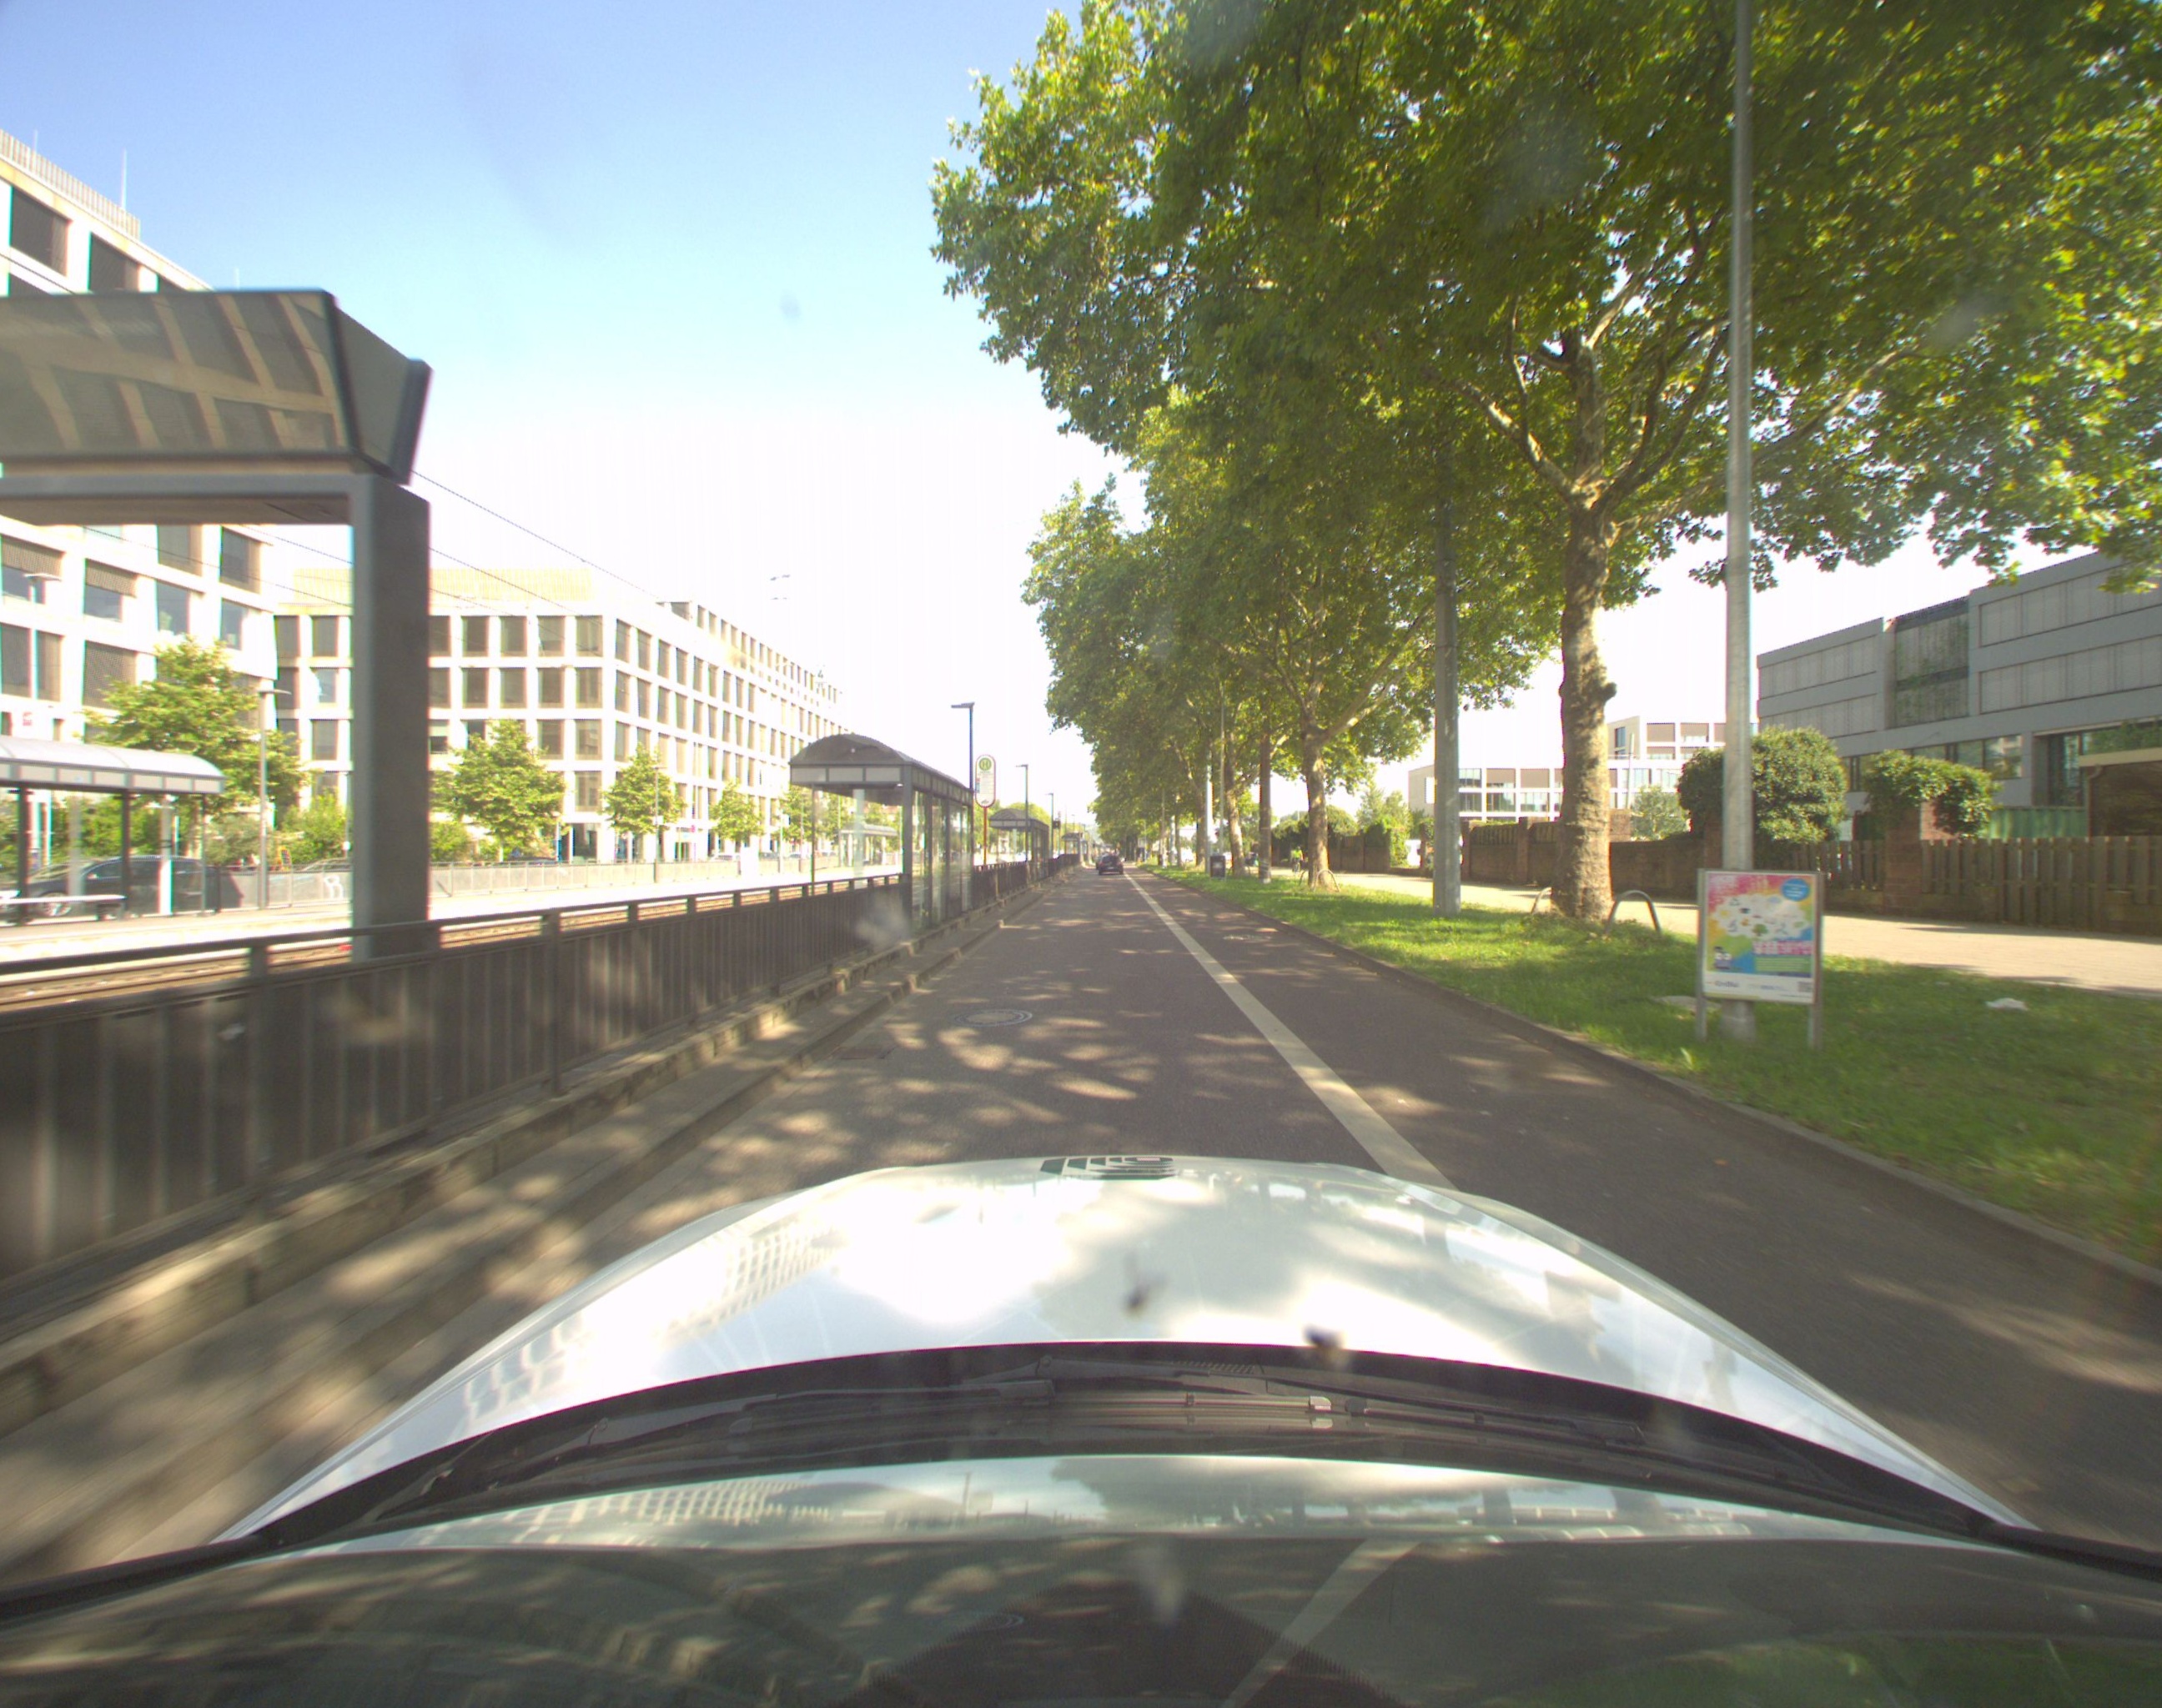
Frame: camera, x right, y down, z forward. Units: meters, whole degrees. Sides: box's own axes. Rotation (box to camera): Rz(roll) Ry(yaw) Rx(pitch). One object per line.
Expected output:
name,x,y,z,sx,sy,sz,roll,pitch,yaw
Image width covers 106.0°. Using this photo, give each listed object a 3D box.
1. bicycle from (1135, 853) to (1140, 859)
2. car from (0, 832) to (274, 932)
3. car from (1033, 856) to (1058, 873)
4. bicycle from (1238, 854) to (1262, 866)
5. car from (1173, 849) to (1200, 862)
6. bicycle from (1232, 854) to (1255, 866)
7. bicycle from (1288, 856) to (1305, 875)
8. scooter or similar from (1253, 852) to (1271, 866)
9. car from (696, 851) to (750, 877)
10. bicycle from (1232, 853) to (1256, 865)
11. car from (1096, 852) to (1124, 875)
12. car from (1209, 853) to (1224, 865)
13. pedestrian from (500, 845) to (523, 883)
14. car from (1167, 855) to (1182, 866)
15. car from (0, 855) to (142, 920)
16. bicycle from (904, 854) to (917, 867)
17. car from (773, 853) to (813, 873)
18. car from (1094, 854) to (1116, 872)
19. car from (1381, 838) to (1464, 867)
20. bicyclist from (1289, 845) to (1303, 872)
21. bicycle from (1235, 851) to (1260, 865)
bicycle,10.043,0.410,144.494,0.608,1.022,2.401,-1,0,-2
car,-19.434,0.569,16.536,1.987,1.724,4.000,-3,-1,1
car,-3.431,0.978,78.773,1.986,1.559,4.003,-2,0,2
bicycle,15.830,0.579,76.340,2.166,1.076,0.743,-1,0,0
car,16.614,0.296,128.844,4.084,1.918,1.850,-2,0,4
bicycle,15.832,0.559,79.369,2.163,1.076,0.744,-3,-1,5
bicycle,11.821,0.634,44.782,0.546,1.007,1.714,-1,0,2
scooter or similar,15.992,0.448,71.959,1.498,1.191,0.539,-2,-1,5
car,-23.771,0.643,54.223,1.758,1.574,4.132,-1,0,0
bicycle,15.707,0.472,78.556,2.163,1.076,0.744,-3,-1,5
car,2.100,0.669,59.179,1.900,1.537,4.001,-2,0,1
car,19.417,0.698,116.634,1.601,1.575,3.798,-1,0,2
pedestrian,-30.676,0.540,43.904,0.561,2.014,0.823,-3,-1,1
car,13.300,0.916,115.565,1.721,1.448,4.553,-1,0,2
car,-24.357,0.740,18.680,1.548,1.428,3.504,-1,0,-1
bicycle,-15.151,0.565,72.288,0.467,1.147,1.490,0,0,16
car,-23.795,0.734,67.397,1.758,1.574,4.132,-1,0,0
car,2.281,0.858,78.725,1.966,1.537,4.001,-4,0,1
car,21.706,-0.093,51.836,4.507,1.734,1.909,-1,0,-1
bicyclist,11.822,0.260,44.849,0.546,1.453,0.842,-1,0,2
bicycle,16.566,0.381,80.854,2.236,1.277,0.999,-3,-1,1
